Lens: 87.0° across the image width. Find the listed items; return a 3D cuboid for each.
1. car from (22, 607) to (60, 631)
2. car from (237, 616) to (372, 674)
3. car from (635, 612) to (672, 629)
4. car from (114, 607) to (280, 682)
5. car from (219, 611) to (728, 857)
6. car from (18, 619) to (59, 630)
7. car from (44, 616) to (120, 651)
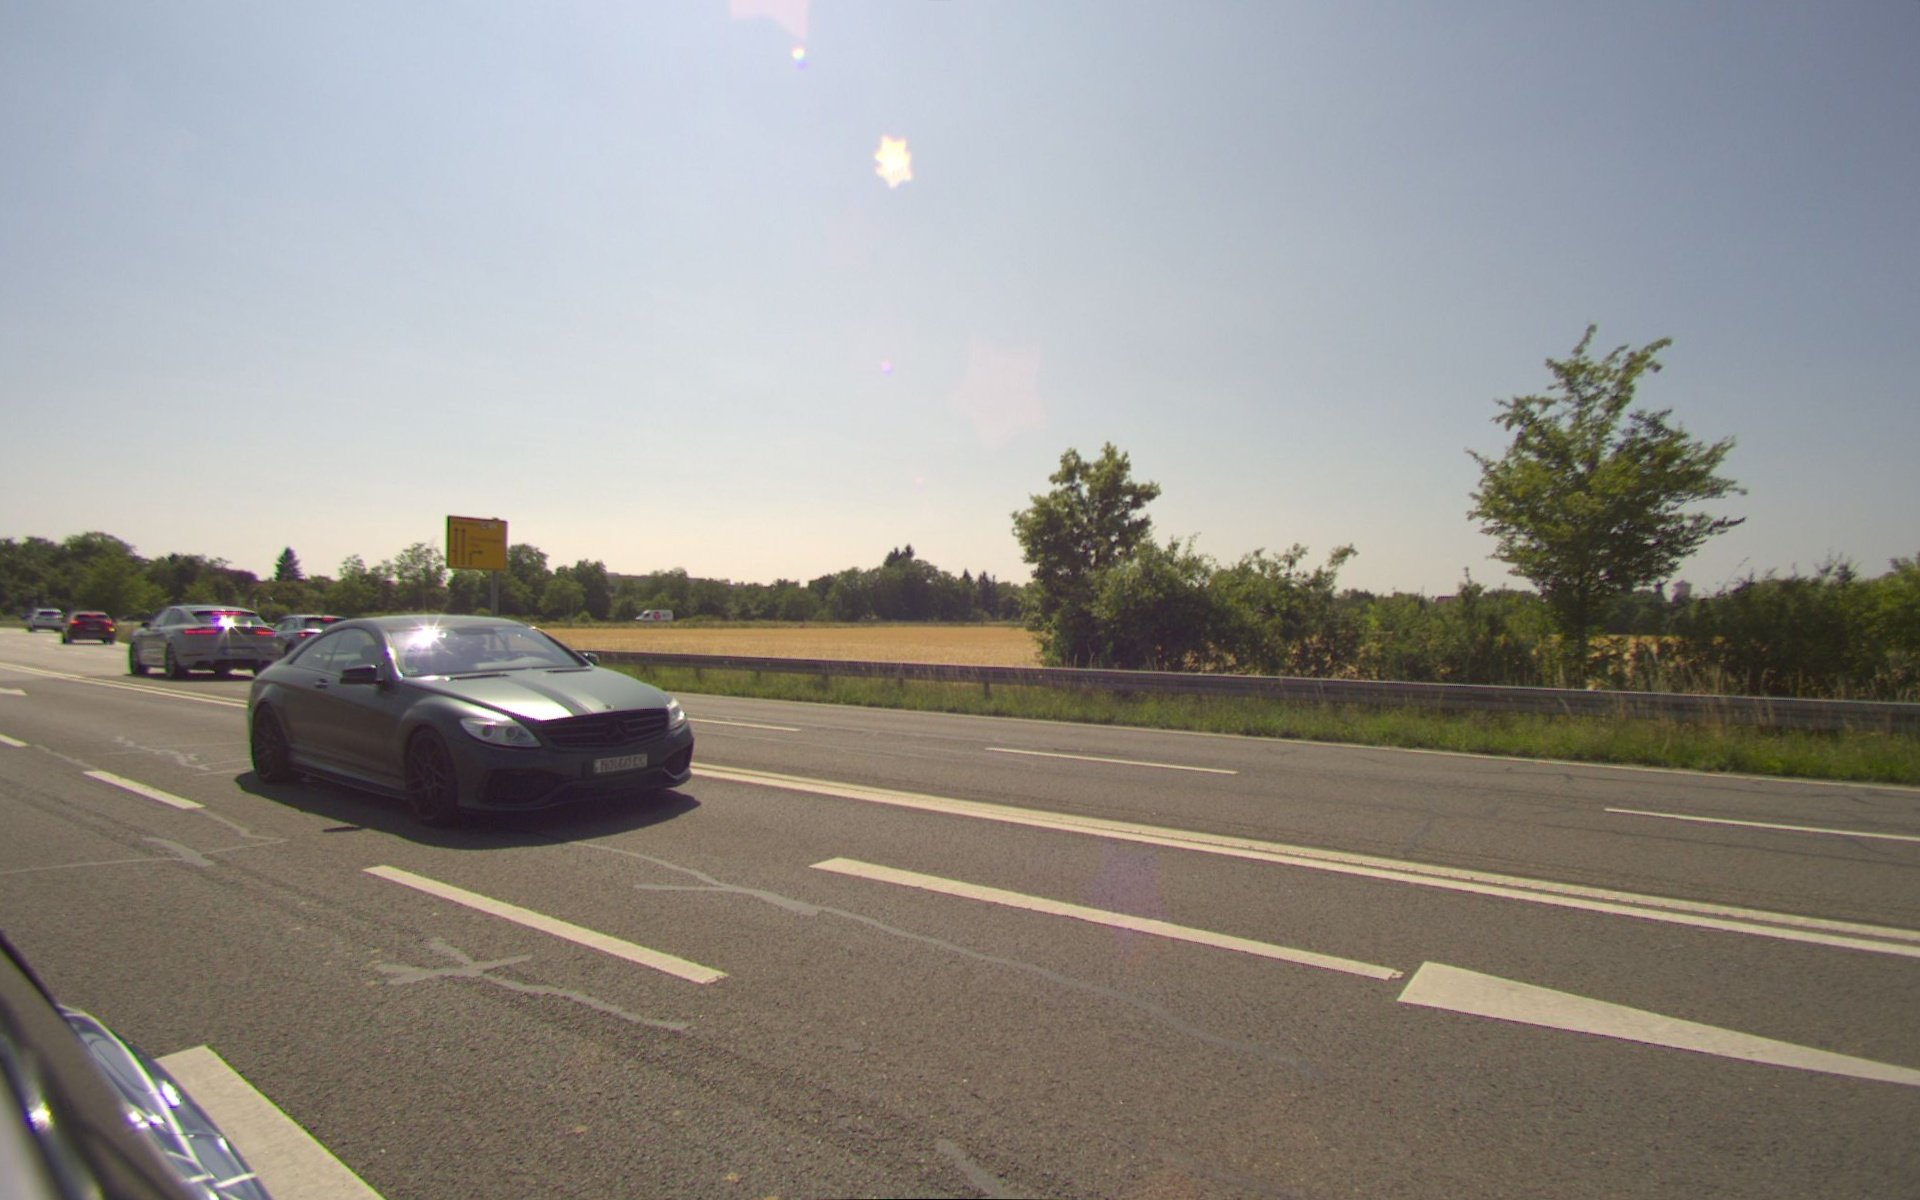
[{"bbox_3d":[-68.206,1.407,75.062,4.462,1.689,1.647,-1,-3,43],"label":"car"},{"bbox_3d":[-18.353,1.237,28.275,4.119,1.519,1.803,-1,-3,37],"label":"car"},{"bbox_3d":[-55.650,3.635,183.811,6.288,2.931,2.001,-1,1,-45],"label":"car"},{"bbox_3d":[-17.995,1.014,23.796,4.867,1.599,1.823,-1,-3,37],"label":"car"},{"bbox_3d":[-4.211,0.841,8.358,4.869,1.461,1.794,0,0,38],"label":"car"},{"bbox_3d":[-116.831,3.064,128.350,3.821,1.397,1.637,1,-2,-43],"label":"car"},{"bbox_3d":[-42.836,1.604,49.363,4.305,1.574,1.974,0,-2,38],"label":"car"}]
